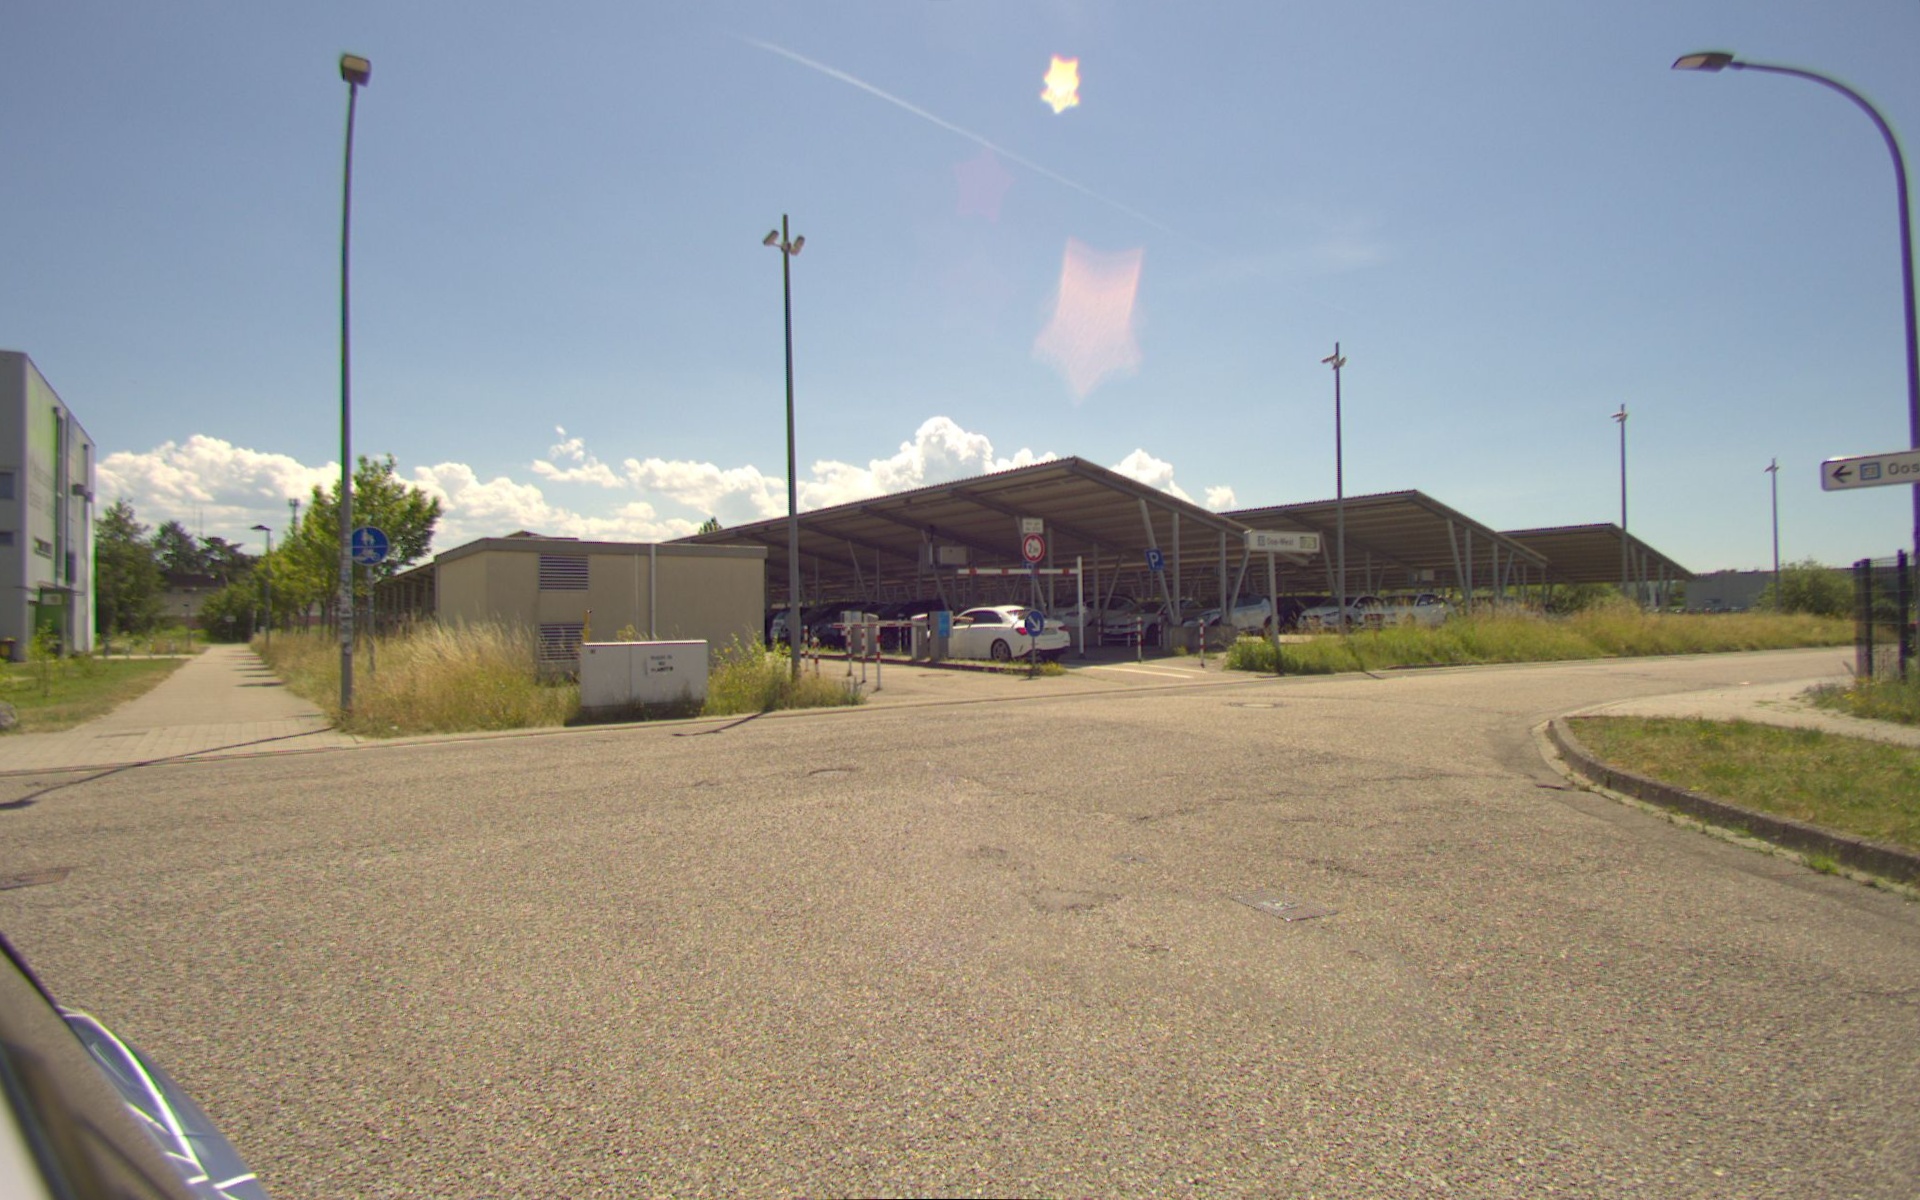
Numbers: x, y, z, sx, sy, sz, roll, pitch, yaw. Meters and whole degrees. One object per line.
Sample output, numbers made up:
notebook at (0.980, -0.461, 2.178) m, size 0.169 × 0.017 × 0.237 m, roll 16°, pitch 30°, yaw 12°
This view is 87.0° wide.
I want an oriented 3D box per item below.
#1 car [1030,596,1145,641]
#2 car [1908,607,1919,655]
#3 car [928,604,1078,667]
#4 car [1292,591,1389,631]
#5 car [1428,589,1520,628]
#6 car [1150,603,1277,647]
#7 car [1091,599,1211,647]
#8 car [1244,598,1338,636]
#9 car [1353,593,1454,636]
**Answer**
car at (4.357, 0.619, 34.438) m, size 3.714 × 1.447 × 1.727 m, roll 0°, pitch -2°, yaw -37°
car at (29.259, 0.861, 29.468) m, size 3.934 × 1.387 × 1.701 m, roll 0°, pitch -2°, yaw -37°
car at (1.002, 0.869, 25.243) m, size 1.695 × 1.447 × 3.784 m, roll 0°, pitch -2°, yaw -37°
car at (14.618, 0.420, 38.841) m, size 3.714 × 1.447 × 1.727 m, roll 0°, pitch -2°, yaw -37°
car at (20.239, 0.324, 39.826) m, size 3.714 × 1.447 × 1.727 m, roll 0°, pitch -2°, yaw -37°
car at (7.601, 0.737, 30.289) m, size 3.714 × 1.237 × 1.727 m, roll 0°, pitch -2°, yaw -37°
car at (6.143, 0.725, 32.441) m, size 3.714 × 1.447 × 1.727 m, roll 0°, pitch -2°, yaw -37°
car at (13.196, 0.672, 40.295) m, size 3.714 × 1.447 × 1.727 m, roll 0°, pitch -2°, yaw -37°
car at (15.990, 0.528, 36.454) m, size 3.714 × 1.447 × 1.727 m, roll 0°, pitch -2°, yaw -37°
